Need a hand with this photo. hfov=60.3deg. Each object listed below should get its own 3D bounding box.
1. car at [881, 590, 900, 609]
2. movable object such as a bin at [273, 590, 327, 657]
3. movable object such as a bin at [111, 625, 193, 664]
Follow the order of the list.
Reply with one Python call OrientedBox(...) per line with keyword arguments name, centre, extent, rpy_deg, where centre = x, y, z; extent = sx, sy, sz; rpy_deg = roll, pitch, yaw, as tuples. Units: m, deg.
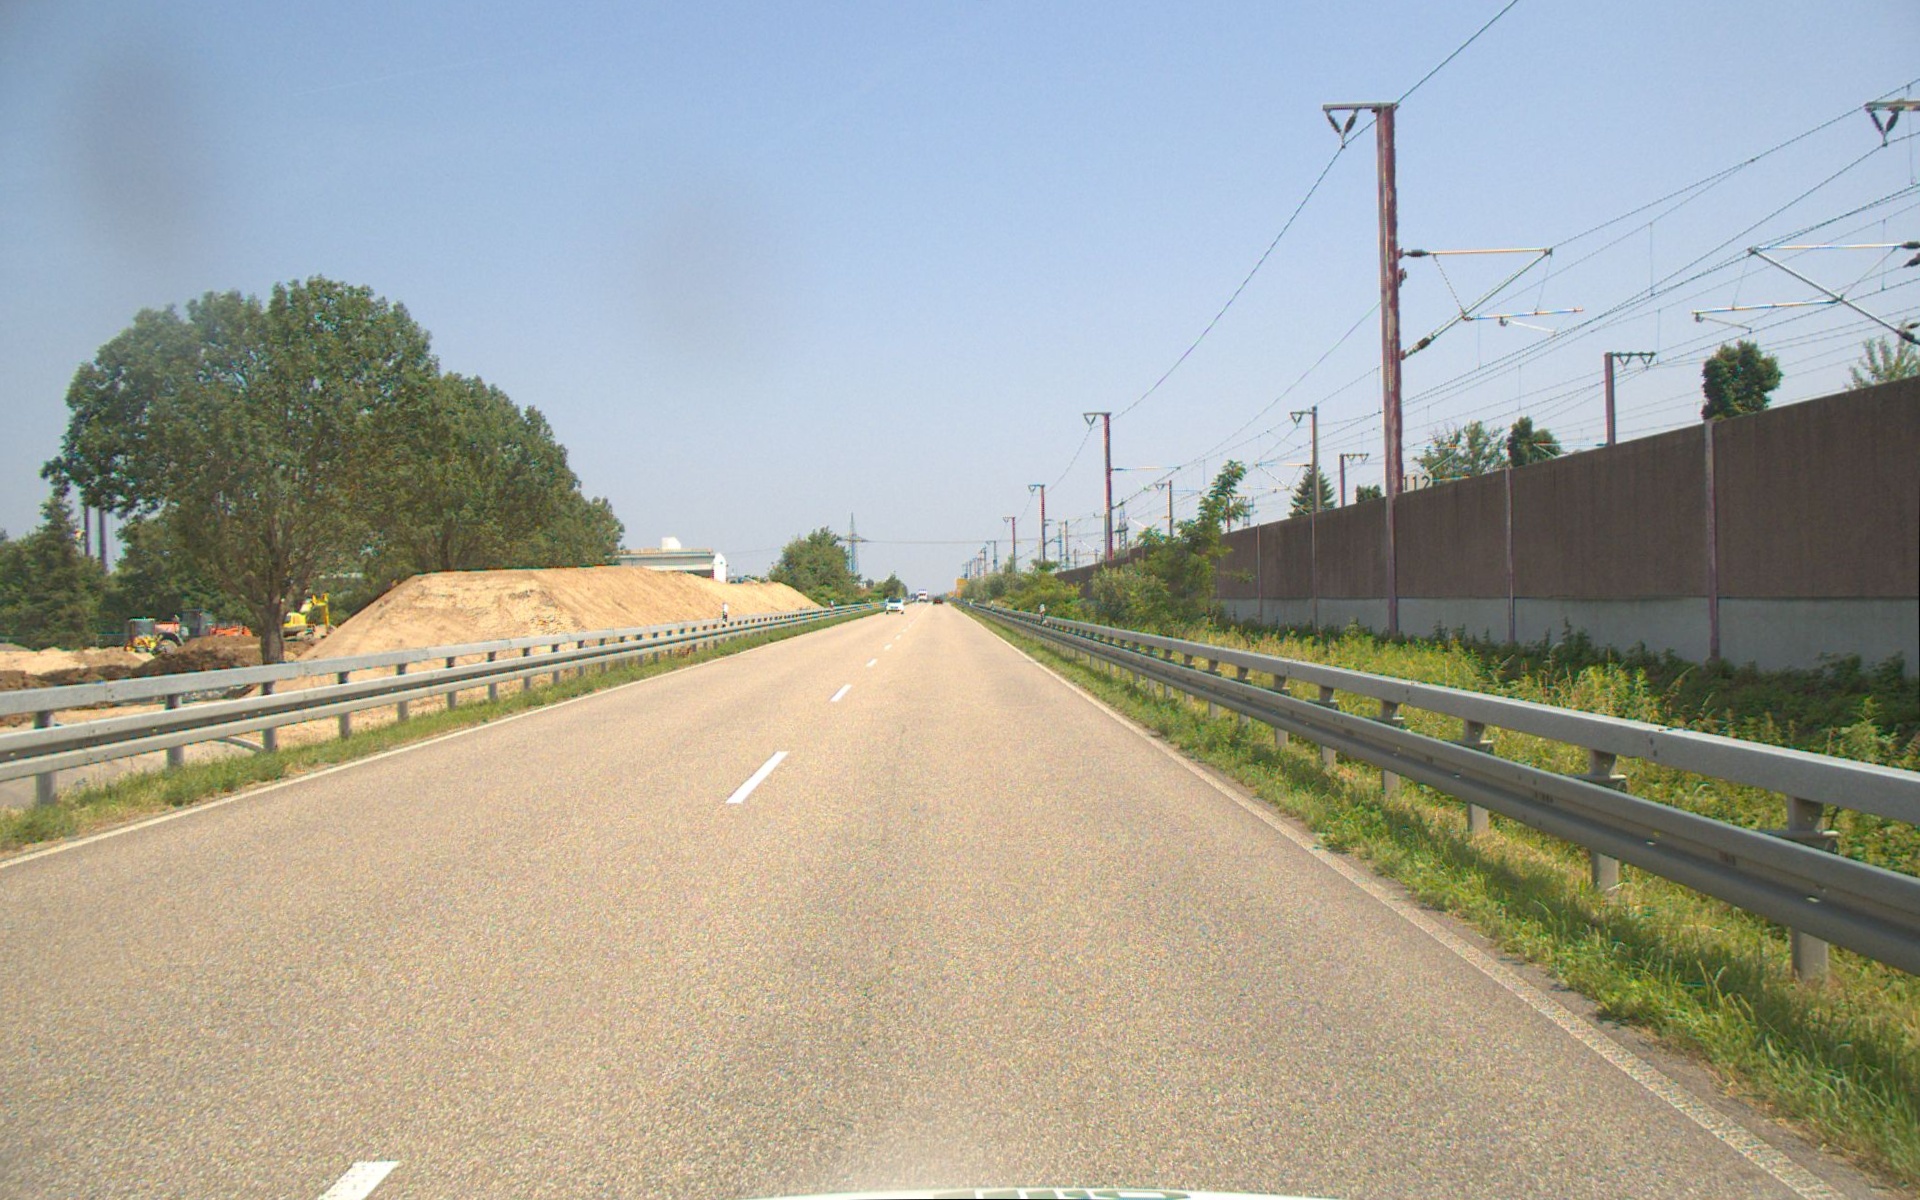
OrientedBox(name="car", centre=(-6.023, -0.082, 144.341), extent=(1.563, 1.603, 3.827), rpy_deg=(0, 0, -1))
OrientedBox(name="movable object such as a bin", centre=(-39.633, 1.402, 99.439), extent=(2.582, 3.716, 5.430), rpy_deg=(-3, 0, -19))
OrientedBox(name="movable object such as a bin", centre=(-47.956, 2.639, 98.252), extent=(3.922, 2.048, 1.992), rpy_deg=(-4, 0, -15))
